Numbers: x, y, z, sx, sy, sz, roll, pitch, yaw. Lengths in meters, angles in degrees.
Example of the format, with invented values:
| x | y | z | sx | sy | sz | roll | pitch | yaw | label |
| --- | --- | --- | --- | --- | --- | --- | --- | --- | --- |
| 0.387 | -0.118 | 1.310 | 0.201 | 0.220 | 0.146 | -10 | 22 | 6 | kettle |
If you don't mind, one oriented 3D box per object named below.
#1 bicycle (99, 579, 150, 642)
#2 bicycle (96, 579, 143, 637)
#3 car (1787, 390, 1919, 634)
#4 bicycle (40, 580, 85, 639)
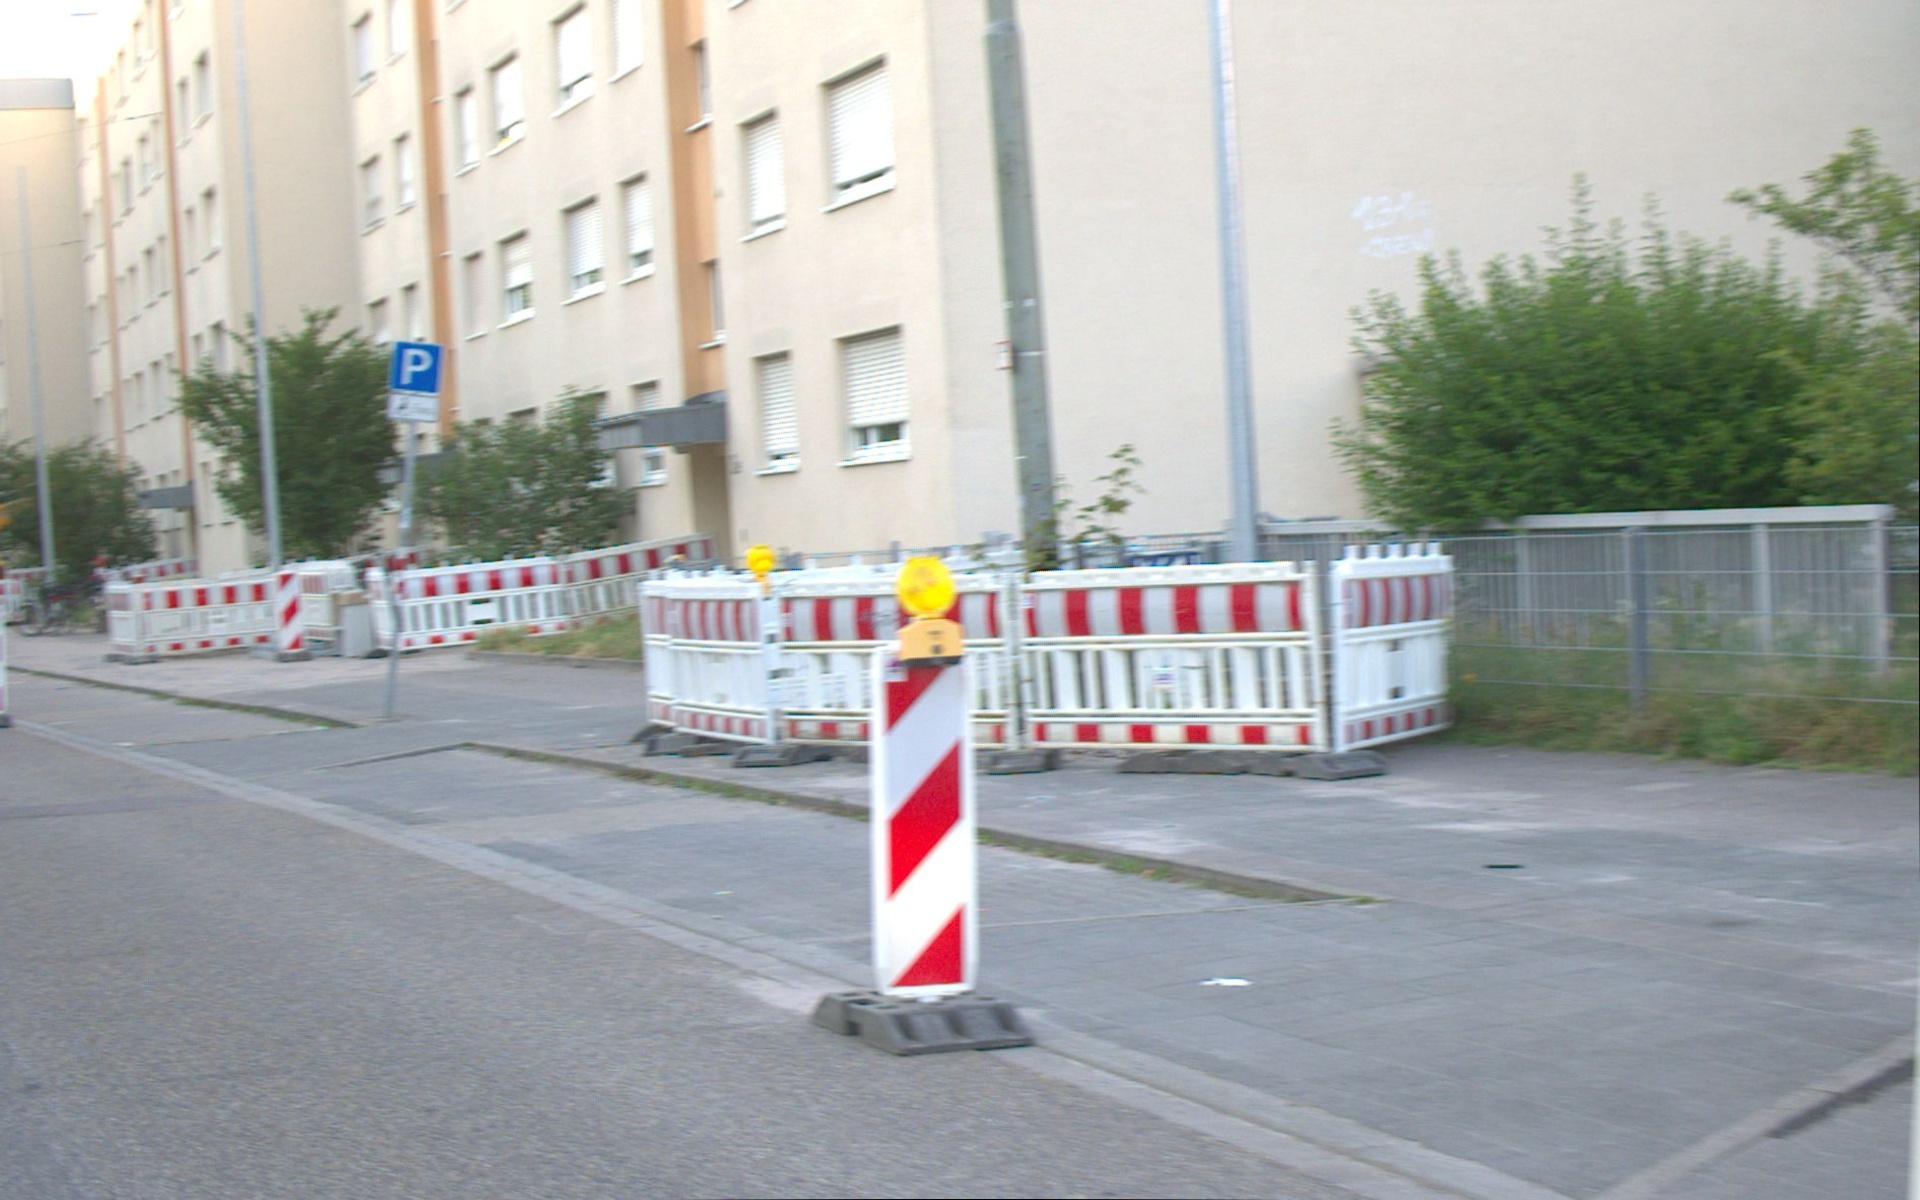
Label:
| x | y | z | sx | sy | sz | roll | pitch | yaw | label |
| --- | --- | --- | --- | --- | --- | --- | --- | --- | --- |
| -15.348 | 0.179 | 63.155 | 0.617 | 1.103 | 2.235 | -4 | 2 | -20 | bicycle |
| -16.813 | 0.152 | 68.770 | 0.617 | 1.103 | 2.235 | -4 | 2 | -20 | bicycle |
| 8.279 | -0.723 | 24.358 | 4.211 | 1.641 | 2.001 | -4 | 2 | -18 | car |
| -17.891 | 0.181 | 68.507 | 0.617 | 1.103 | 2.235 | -4 | 2 | -20 | bicycle |
